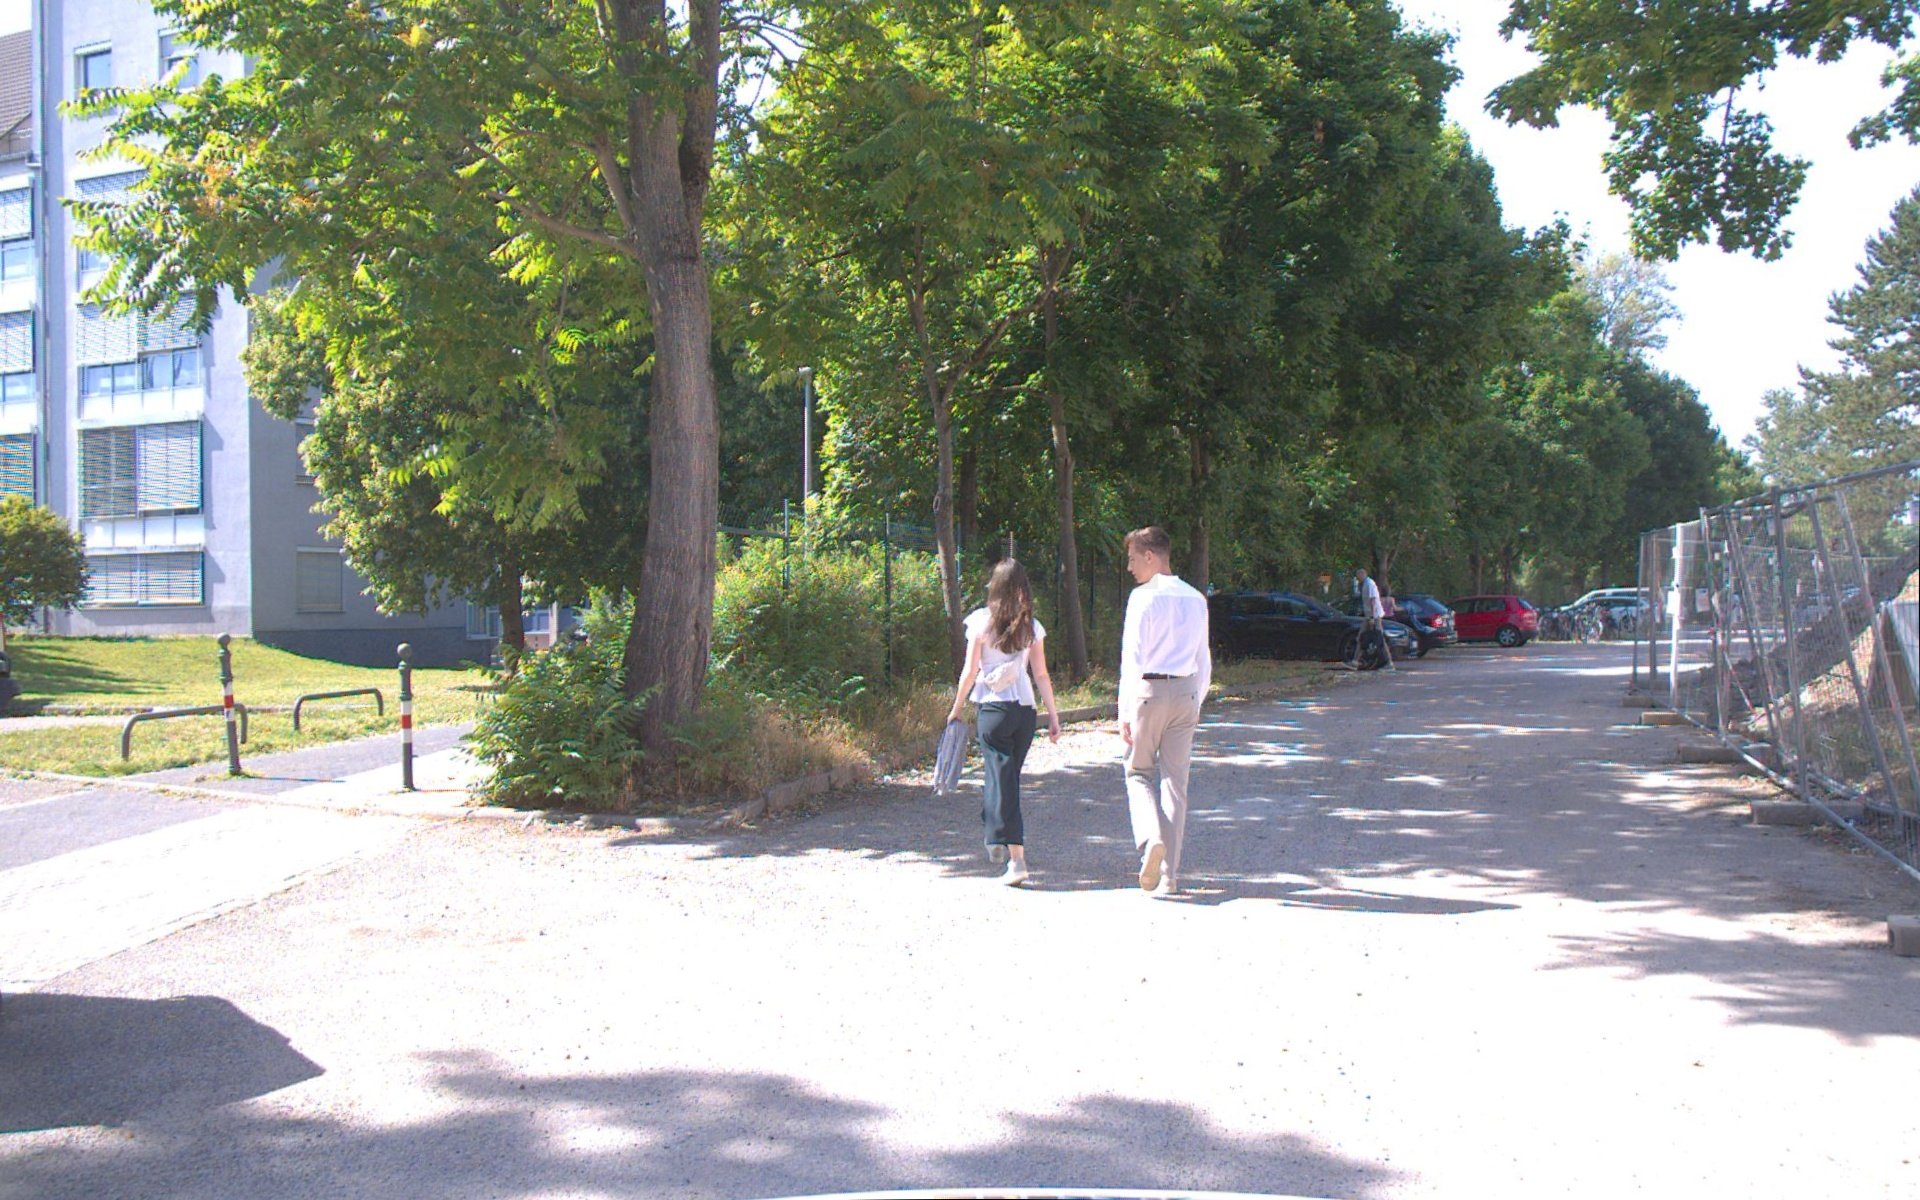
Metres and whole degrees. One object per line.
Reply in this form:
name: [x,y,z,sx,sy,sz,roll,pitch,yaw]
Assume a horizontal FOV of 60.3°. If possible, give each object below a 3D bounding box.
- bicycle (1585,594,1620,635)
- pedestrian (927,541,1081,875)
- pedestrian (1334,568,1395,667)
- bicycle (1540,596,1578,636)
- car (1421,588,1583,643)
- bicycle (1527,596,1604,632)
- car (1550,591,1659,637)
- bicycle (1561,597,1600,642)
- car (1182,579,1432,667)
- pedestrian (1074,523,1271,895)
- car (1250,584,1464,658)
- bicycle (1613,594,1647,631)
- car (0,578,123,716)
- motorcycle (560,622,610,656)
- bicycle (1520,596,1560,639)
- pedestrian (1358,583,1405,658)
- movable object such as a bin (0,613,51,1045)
bicycle: [21.167,0.467,54.470,0.701,1.307,2.632,-1,0,29]
pedestrian: [0.217,0.537,8.717,0.721,1.668,0.780,-1,1,-4]
pedestrian: [7.510,0.325,30.690,0.993,1.812,0.820,-1,0,21]
bicycle: [20.444,0.538,56.410,0.801,1.307,2.679,-1,0,29]
car: [15.749,0.440,48.057,4.204,1.551,1.890,-1,0,28]
bicycle: [22.500,0.514,61.473,2.621,1.307,0.818,0,0,24]
car: [26.392,0.555,67.743,3.916,1.803,1.763,0,0,33]
bicycle: [18.952,0.586,50.487,0.701,1.307,2.679,-1,0,29]
car: [6.850,0.431,32.636,4.560,1.612,2.000,0,1,21]
pedestrian: [1.047,0.506,8.310,0.741,1.758,0.852,-1,1,-11]
car: [9.143,0.458,38.090,4.560,1.612,2.000,0,1,21]
bicycle: [24.859,0.450,61.342,0.801,1.307,2.741,-1,0,29]
car: [-14.864,0.679,23.520,1.957,1.967,5.029,-1,0,31]
motorcycle: [-14.376,1.479,63.494,0.616,1.268,2.058,-1,0,31]
bicycle: [18.283,0.528,52.088,0.701,1.307,2.786,-1,0,29]
pedestrian: [9.291,0.441,36.458,0.906,1.623,0.786,0,1,22]
movable object such as a bin: [-3.974,0.768,5.661,1.238,1.421,1.383,-1,0,-42]
